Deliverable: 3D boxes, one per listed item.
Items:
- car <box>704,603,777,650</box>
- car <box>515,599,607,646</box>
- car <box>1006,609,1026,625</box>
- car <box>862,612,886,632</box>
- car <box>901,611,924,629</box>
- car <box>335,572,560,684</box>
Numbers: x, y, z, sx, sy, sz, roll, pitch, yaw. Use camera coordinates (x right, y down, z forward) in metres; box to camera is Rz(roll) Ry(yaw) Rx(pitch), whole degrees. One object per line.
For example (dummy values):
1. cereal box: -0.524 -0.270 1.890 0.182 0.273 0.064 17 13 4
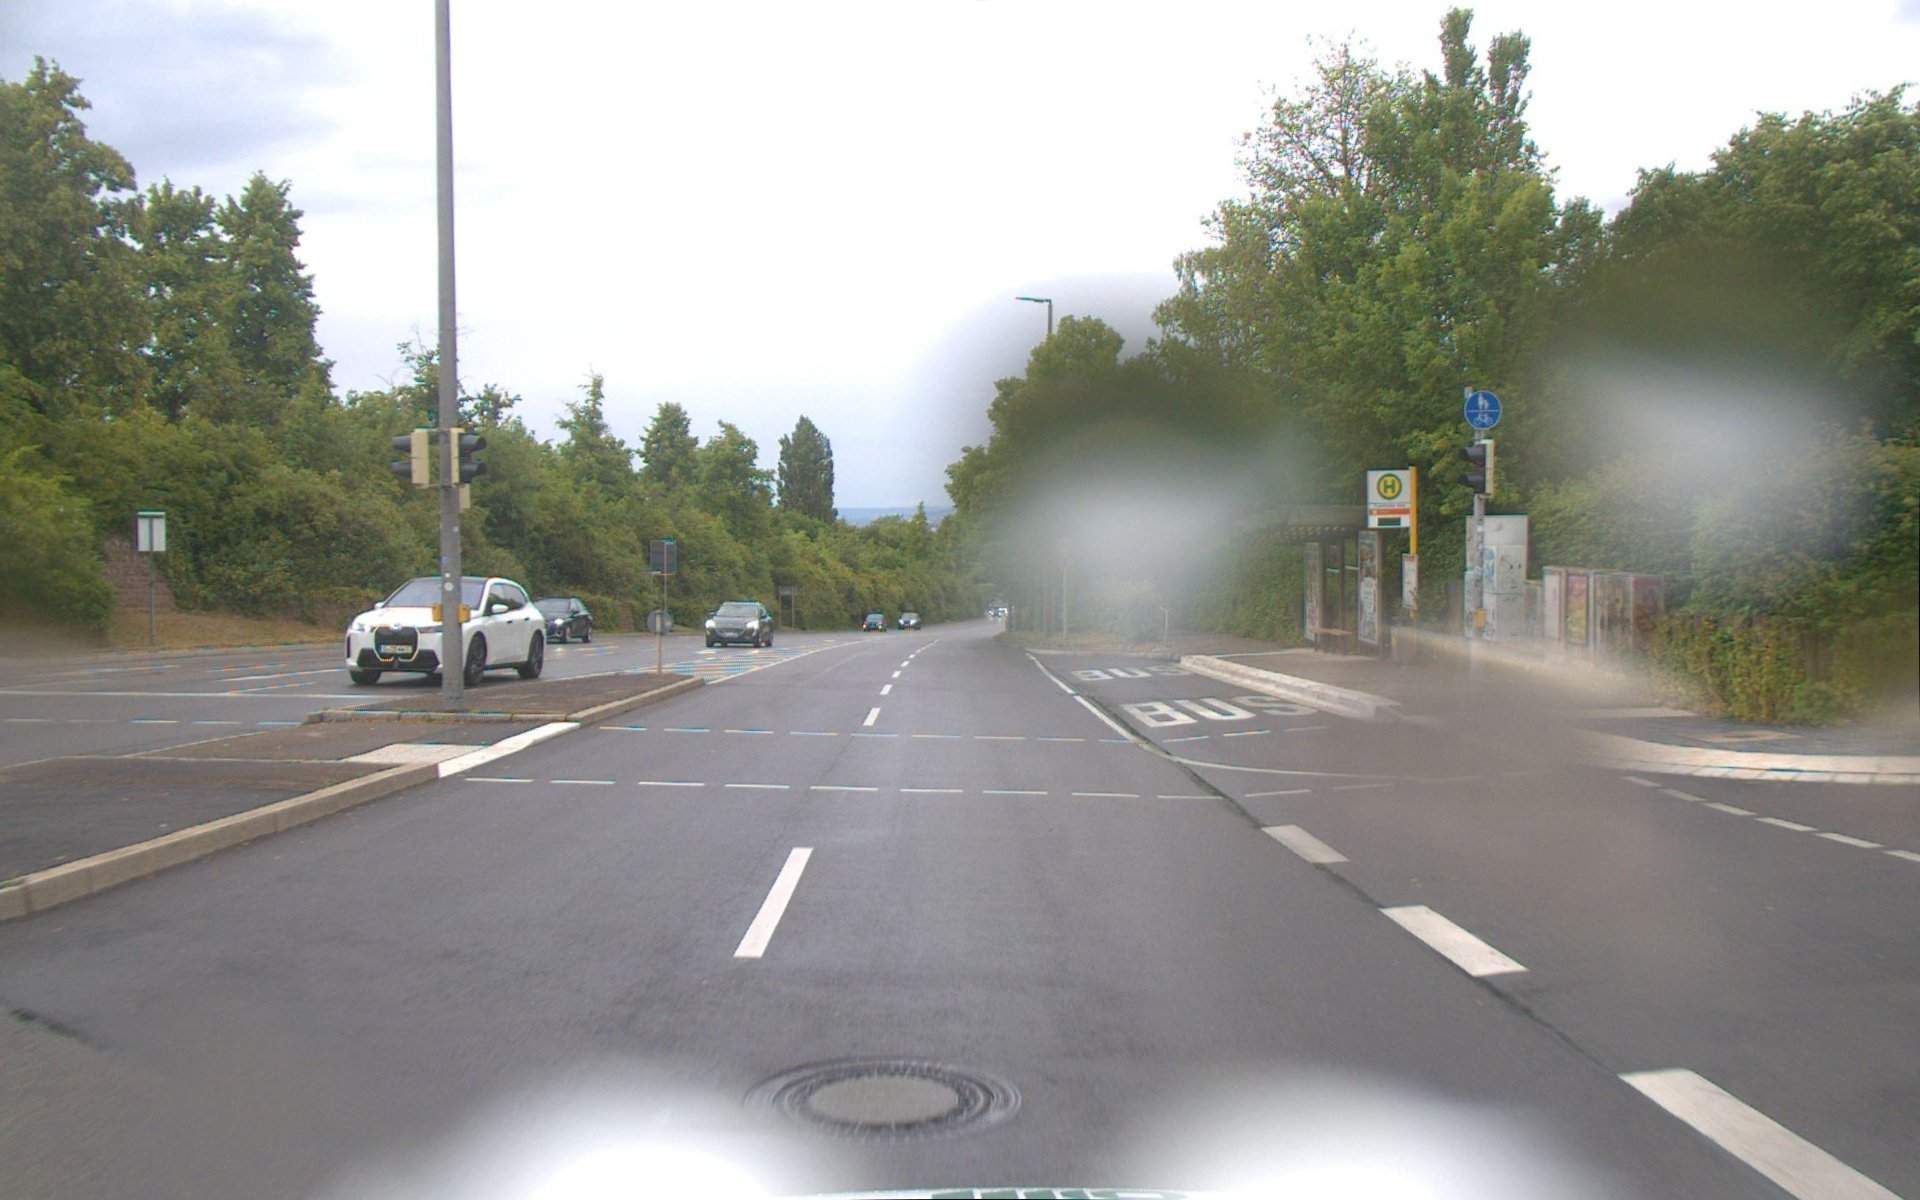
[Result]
1. car: -7.238 0.846 55.002 1.741 1.497 4.645 0 0 1
2. car: -13.040 0.705 54.290 1.782 1.463 4.456 0 0 2
3. car: 6.183 1.899 182.909 1.903 1.619 3.931 0 1 6
4. car: -7.246 1.820 139.681 1.689 1.593 3.893 2 0 0
5. car: -4.645 1.959 161.748 1.825 1.617 3.894 2 -1 3
6. car: -8.256 0.406 27.189 1.904 1.664 5.007 0 0 3
